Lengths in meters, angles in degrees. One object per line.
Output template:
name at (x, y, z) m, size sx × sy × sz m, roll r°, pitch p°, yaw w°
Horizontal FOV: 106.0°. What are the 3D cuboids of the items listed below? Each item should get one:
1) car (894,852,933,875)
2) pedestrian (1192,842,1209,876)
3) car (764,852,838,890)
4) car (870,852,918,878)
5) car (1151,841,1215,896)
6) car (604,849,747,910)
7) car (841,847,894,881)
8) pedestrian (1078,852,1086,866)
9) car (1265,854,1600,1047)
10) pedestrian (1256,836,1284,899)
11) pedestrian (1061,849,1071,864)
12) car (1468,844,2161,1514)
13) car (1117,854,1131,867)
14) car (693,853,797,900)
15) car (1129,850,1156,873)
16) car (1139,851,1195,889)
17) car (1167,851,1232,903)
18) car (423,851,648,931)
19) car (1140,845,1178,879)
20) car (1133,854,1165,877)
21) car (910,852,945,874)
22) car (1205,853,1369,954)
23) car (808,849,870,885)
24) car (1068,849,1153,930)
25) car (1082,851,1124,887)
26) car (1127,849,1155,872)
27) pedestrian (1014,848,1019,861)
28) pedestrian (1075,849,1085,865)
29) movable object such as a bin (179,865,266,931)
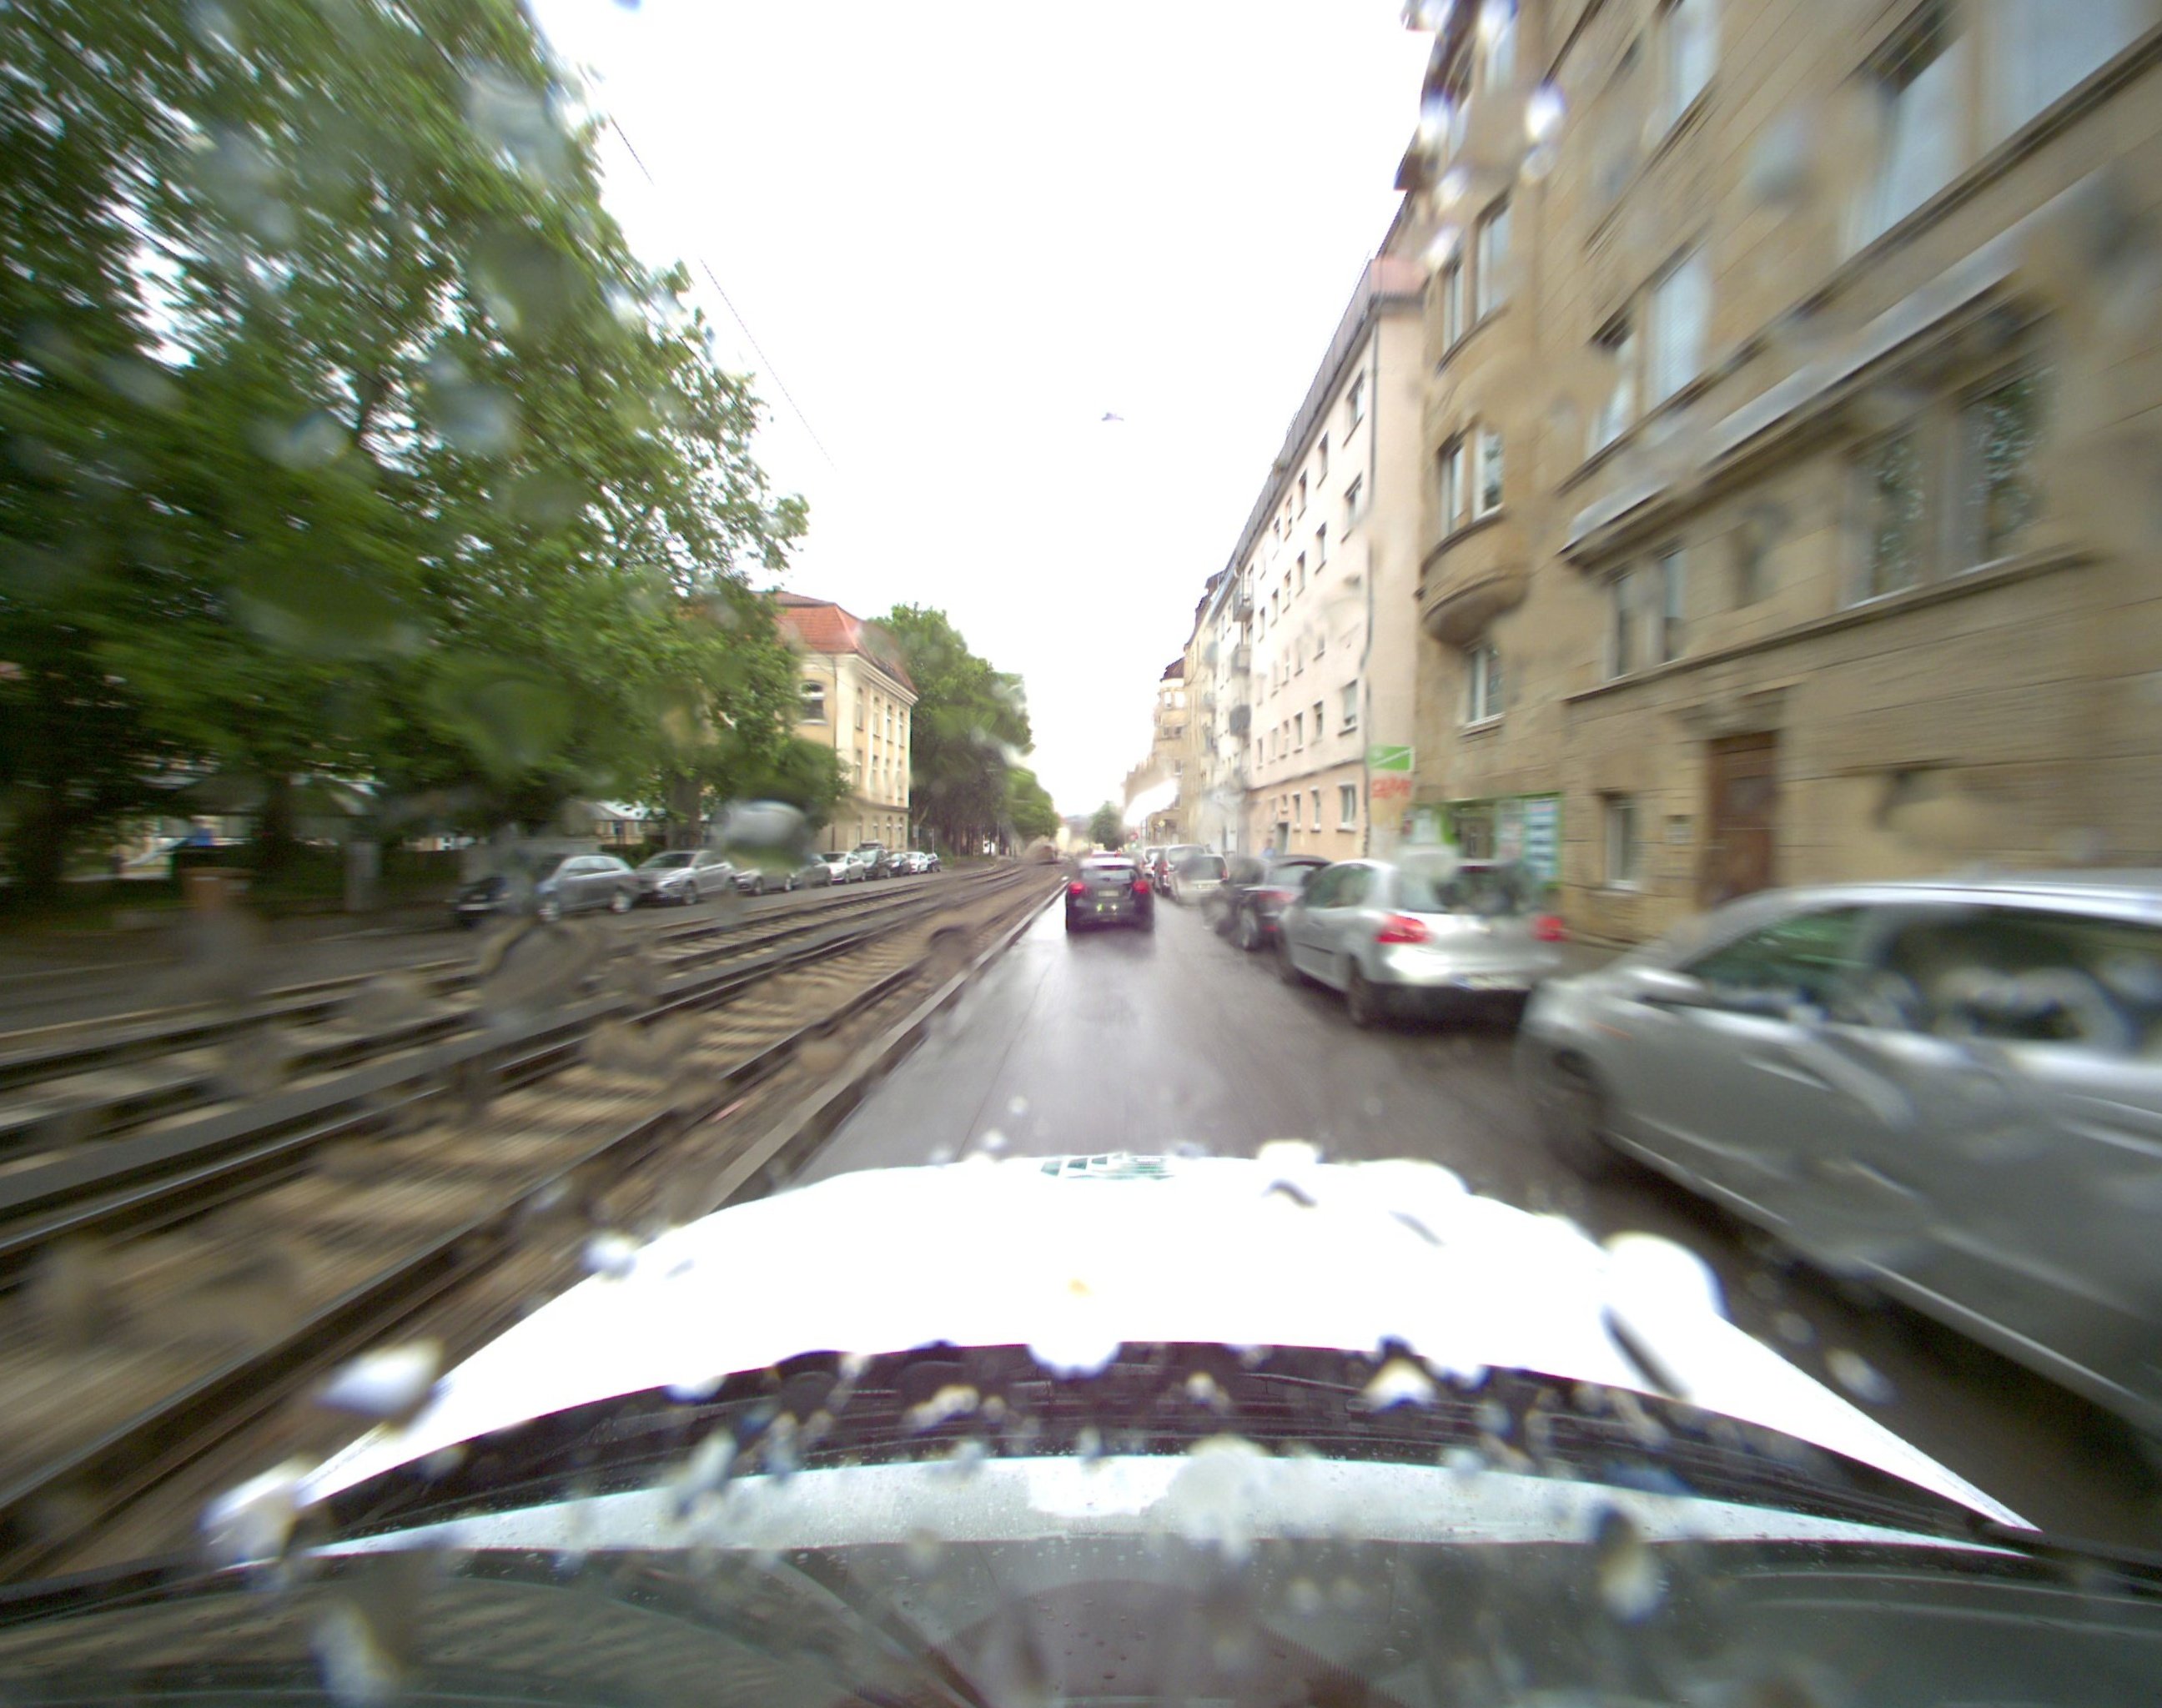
car at (-10.872, 0.591, 53.203) m, size 1.494 × 1.391 × 3.990 m, roll -2°, pitch 0°, yaw 3°
pedestrian at (6.612, 0.278, 45.030) m, size 0.743 × 1.833 × 1.039 m, roll -3°, pitch 0°, yaw 3°
car at (-11.320, 0.658, 33.153) m, size 1.534 × 1.413 × 3.953 m, roll -2°, pitch 0°, yaw 1°
car at (-11.085, 0.644, 48.478) m, size 1.668 × 1.413 × 4.013 m, roll -2°, pitch 0°, yaw 3°
car at (3.550, 0.473, 28.934) m, size 1.784 × 1.765 × 4.212 m, roll -1°, pitch 0°, yaw 1°
car at (-11.478, 0.655, 23.464) m, size 1.748 × 1.536 × 4.543 m, roll -2°, pitch 0°, yaw 1°
car at (-11.109, 0.489, 42.643) m, size 1.571 × 1.643 × 4.072 m, roll -2°, pitch 0°, yaw 1°
pedestrian at (0.126, 0.592, 95.541) m, size 0.803 × 1.633 × 0.892 m, roll -2°, pitch 0°, yaw 2°
car at (3.123, 0.732, 8.171) m, size 1.662 × 1.434 × 3.956 m, roll -1°, pitch 0°, yaw 0°
pedestrian at (5.432, 0.378, 23.452) m, size 0.605 × 1.763 × 0.688 m, roll -2°, pitch 0°, yaw 0°
pedestrian at (-1.716, 0.334, 94.666) m, size 1.050 × 1.718 × 0.904 m, roll 0°, pitch 0°, yaw 3°
car at (3.106, 0.695, 2.981) m, size 1.585 × 1.434 × 3.683 m, roll -1°, pitch 0°, yaw -1°
car at (5.823, 0.830, 111.333) m, size 1.820 × 1.618 × 3.866 m, roll -2°, pitch 0°, yaw 2°
car at (-11.479, 0.717, 28.143) m, size 1.748 × 1.413 × 4.154 m, roll -2°, pitch 0°, yaw 1°
car at (4.283, 0.494, 56.999) m, size 1.687 × 1.529 × 4.002 m, roll 0°, pitch 0°, yaw 2°
car at (3.519, 0.604, 34.122) m, size 1.865 × 1.455 × 4.903 m, roll 0°, pitch 0°, yaw 0°
car at (3.520, 0.638, 24.729) m, size 1.564 × 1.462 × 3.601 m, roll -1°, pitch 0°, yaw 2°
car at (-11.682, 0.713, 17.921) m, size 1.843 × 1.464 × 4.549 m, roll -2°, pitch 0°, yaw 0°
car at (4.160, 0.398, 43.987) m, size 1.821 × 1.750 × 4.470 m, roll 0°, pitch 0°, yaw 3°
car at (4.320, 0.718, 52.275) m, size 1.711 × 1.347 × 4.462 m, roll 1°, pitch 0°, yaw 1°
car at (-10.776, 0.628, 57.400) m, size 1.608 × 1.429 × 3.853 m, roll -1°, pitch 1°, yaw 1°
car at (3.272, 0.701, 13.783) m, size 1.664 × 1.410 × 4.311 m, roll -1°, pitch 0°, yaw 0°
car at (-11.198, 0.573, 37.982) m, size 1.534 × 1.505 × 4.155 m, roll -2°, pitch 0°, yaw 1°
car at (0.582, 0.662, 16.986) m, size 1.574 × 1.505 × 3.575 m, roll 0°, pitch 0°, yaw 1°
car at (1.017, 0.644, 37.187) m, size 1.778 × 1.581 × 4.001 m, roll 0°, pitch 0°, yaw 2°
car at (4.612, 0.462, 62.760) m, size 1.761 × 1.668 × 4.331 m, roll 1°, pitch 0°, yaw -1°
pedestrian at (-9.329, 0.061, 117.799) m, size 0.532 × 1.754 × 0.607 m, roll 2°, pitch 0°, yaw 2°
pedestrian at (-0.126, 0.376, 100.103) m, size 1.135 × 1.998 × 1.171 m, roll -2°, pitch 0°, yaw -3°
movable object such as a bin at (-15.234, 0.759, 14.470) m, size 0.714 × 1.120 × 0.774 m, roll 0°, pitch 0°, yaw 3°
